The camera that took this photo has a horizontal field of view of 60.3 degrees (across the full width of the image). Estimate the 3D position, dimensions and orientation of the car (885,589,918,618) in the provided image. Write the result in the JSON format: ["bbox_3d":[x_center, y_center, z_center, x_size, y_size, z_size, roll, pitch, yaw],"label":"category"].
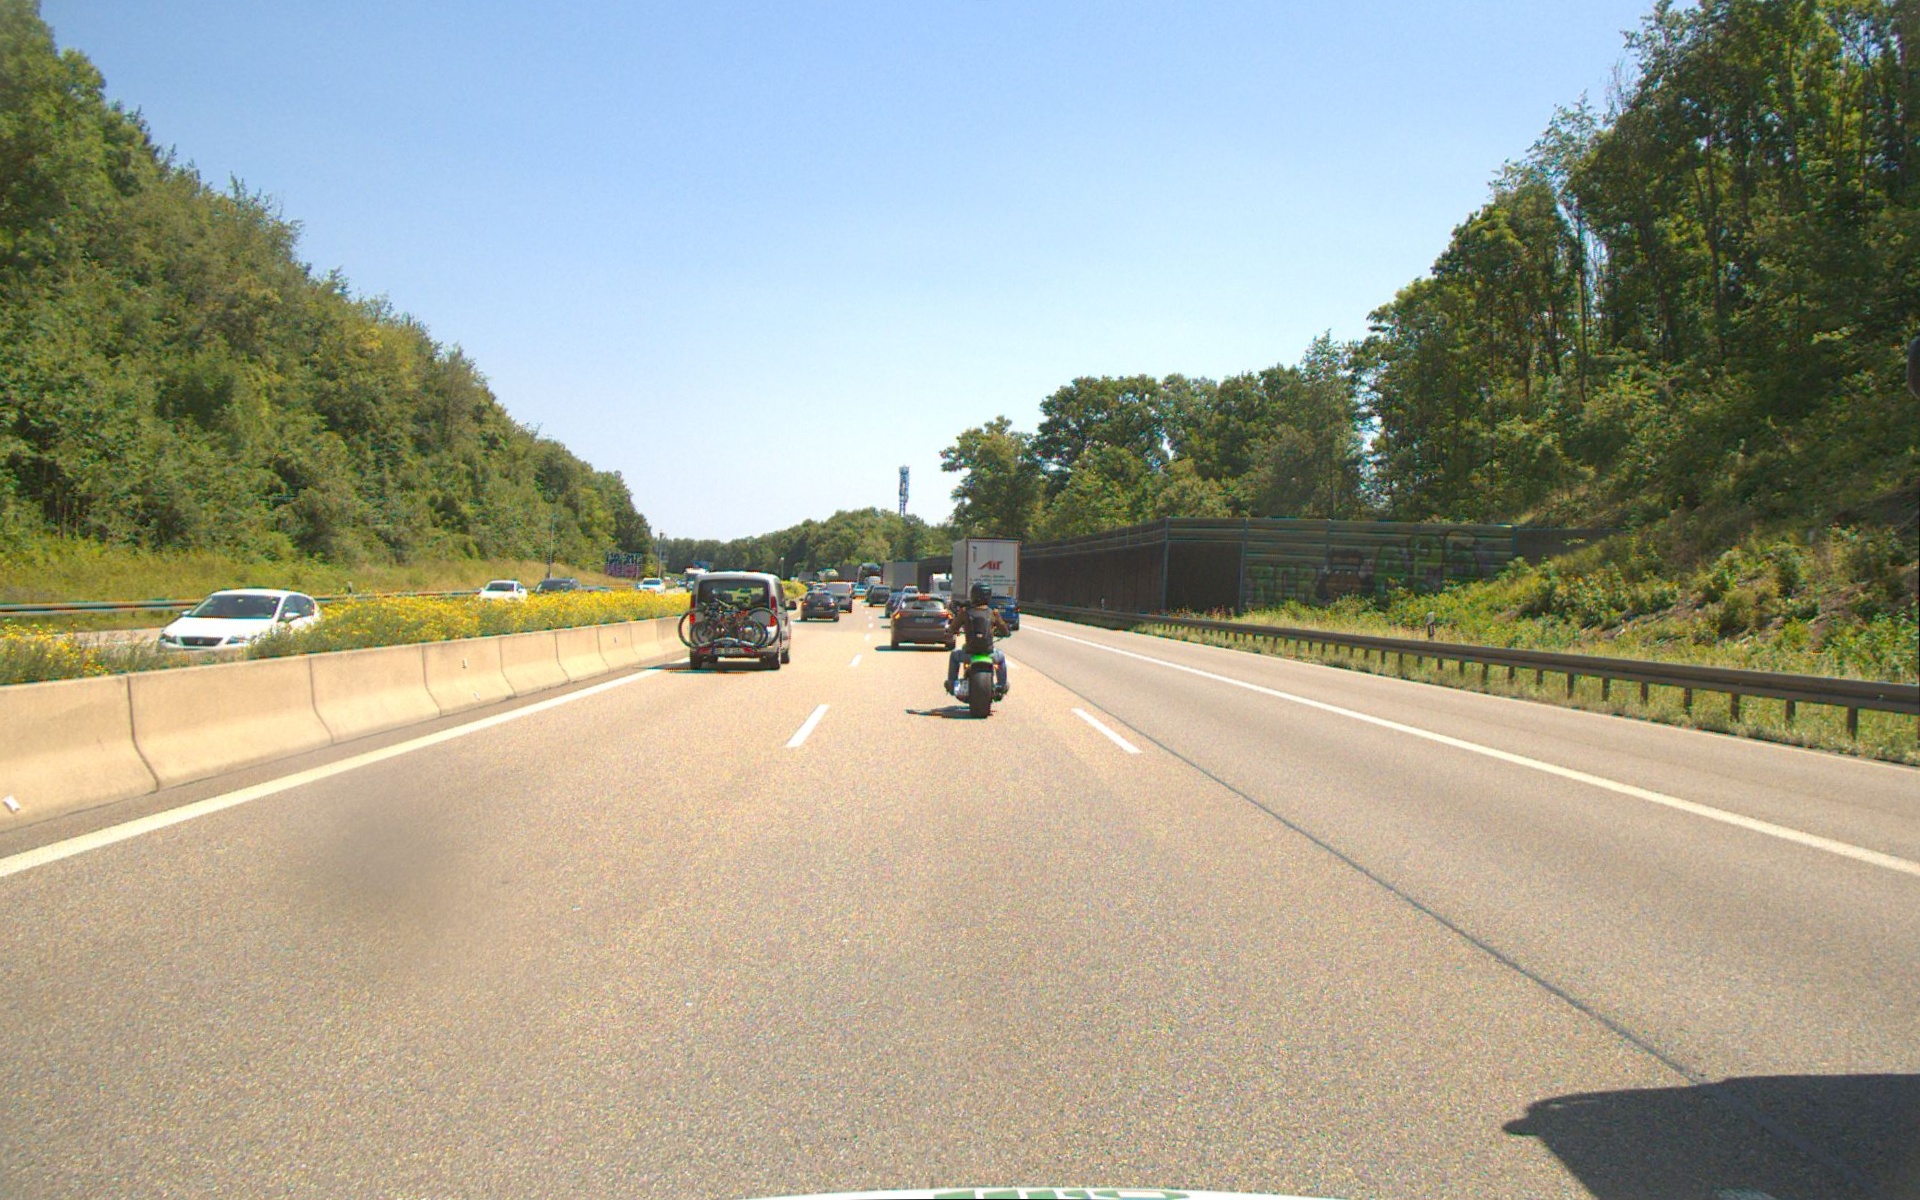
[{"bbox_3d":[-3.211,0.212,91.439,1.743,1.579,3.584,1,0,-1],"label":"car"}]

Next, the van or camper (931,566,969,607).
[{"bbox_3d":[-0.768,-0.923,121.260,2.630,2.862,6.801,1,0,-1],"label":"van or camper"}]

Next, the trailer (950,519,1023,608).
[{"bbox_3d":[1.203,-1.764,83.958,2.828,4.109,13.788,1,1,-3],"label":"trailer"}]

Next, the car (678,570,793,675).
[{"bbox_3d":[-4.304,0.424,32.336,1.861,1.906,4.409,1,0,-3],"label":"car"}]

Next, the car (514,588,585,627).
[{"bbox_3d":[-16.633,0.324,67.149,1.953,1.512,3.999,1,0,-1],"label":"car"}]

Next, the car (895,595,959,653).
[{"bbox_3d":[-0.923,0.627,44.750,1.629,1.478,3.867,1,0,-3],"label":"car"}]

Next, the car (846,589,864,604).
[{"bbox_3d":[-11.068,-0.357,174.144,1.796,1.522,3.740,1,0,-4],"label":"car"}]

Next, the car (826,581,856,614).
[{"bbox_3d":[-7.504,-0.159,104.684,1.755,2.049,3.640,1,0,-3],"label":"car"}]

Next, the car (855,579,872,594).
[{"bbox_3d":[-12.916,-1.747,220.306,2.067,1.909,3.995,1,0,-6],"label":"car"}]

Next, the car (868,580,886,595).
[{"bbox_3d":[-10.818,-1.602,214.886,2.067,1.909,3.995,1,0,-6],"label":"car"}]

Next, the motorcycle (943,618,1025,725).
[{"bbox_3d":[0.303,0.858,20.915,0.945,1.168,2.812,1,1,1],"label":"motorcycle"}]

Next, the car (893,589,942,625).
[{"bbox_3d":[-1.806,0.316,69.652,1.954,1.455,3.845,1,0,-3],"label":"car"}]

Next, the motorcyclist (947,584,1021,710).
[{"bbox_3d":[0.306,0.571,20.771,0.881,1.501,1.872,0,-1,1],"label":"motorcyclist"}]

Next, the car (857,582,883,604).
[{"bbox_3d":[-7.048,-0.544,129.825,1.954,1.669,3.997,1,0,-3],"label":"car"}]

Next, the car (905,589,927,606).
[{"bbox_3d":[-4.294,-0.258,161.218,1.954,1.601,3.997,1,0,-4],"label":"car"}]

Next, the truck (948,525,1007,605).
[{"bbox_3d":[0.907,-1.874,90.783,2.828,4.218,5.983,1,1,-3],"label":"truck"}]

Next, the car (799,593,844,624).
[{"bbox_3d":[-6.548,0.396,78.657,1.954,1.411,3.998,1,0,-3],"label":"car"}]

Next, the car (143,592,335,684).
[{"bbox_3d":[-12.064,0.586,27.948,1.590,1.410,4.136,0,0,-3],"label":"car"}]

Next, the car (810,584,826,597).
[{"bbox_3d":[-16.676,-1.086,194.199,1.796,1.522,3.740,1,0,-4],"label":"car"}]

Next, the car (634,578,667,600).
[{"bbox_3d":[-23.870,-0.896,127.678,1.954,1.645,4.481,1,1,-3],"label":"car"}]

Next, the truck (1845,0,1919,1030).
[{"bbox_3d":[4.554,-0.680,2.854,2.729,4.278,5.868,1,1,-1],"label":"truck"}]

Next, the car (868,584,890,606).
[{"bbox_3d":[-7.562,-0.465,154.706,1.874,2.049,3.687,1,0,-5],"label":"car"}]

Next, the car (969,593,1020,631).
[{"bbox_3d":[1.414,0.490,68.859,1.618,1.508,4.476,1,0,-5],"label":"car"}]

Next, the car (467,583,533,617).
[{"bbox_3d":[-20.767,0.001,74.809,1.953,1.467,4.169,1,0,-2],"label":"car"}]

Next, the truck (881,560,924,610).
[{"bbox_3d":[-6.132,-1.516,173.891,3.730,5.046,8.937,1,-1,-7],"label":"truck"}]

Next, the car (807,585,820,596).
[{"bbox_3d":[-21.151,-1.399,239.100,1.797,1.522,3.738,1,0,-6],"label":"car"}]
